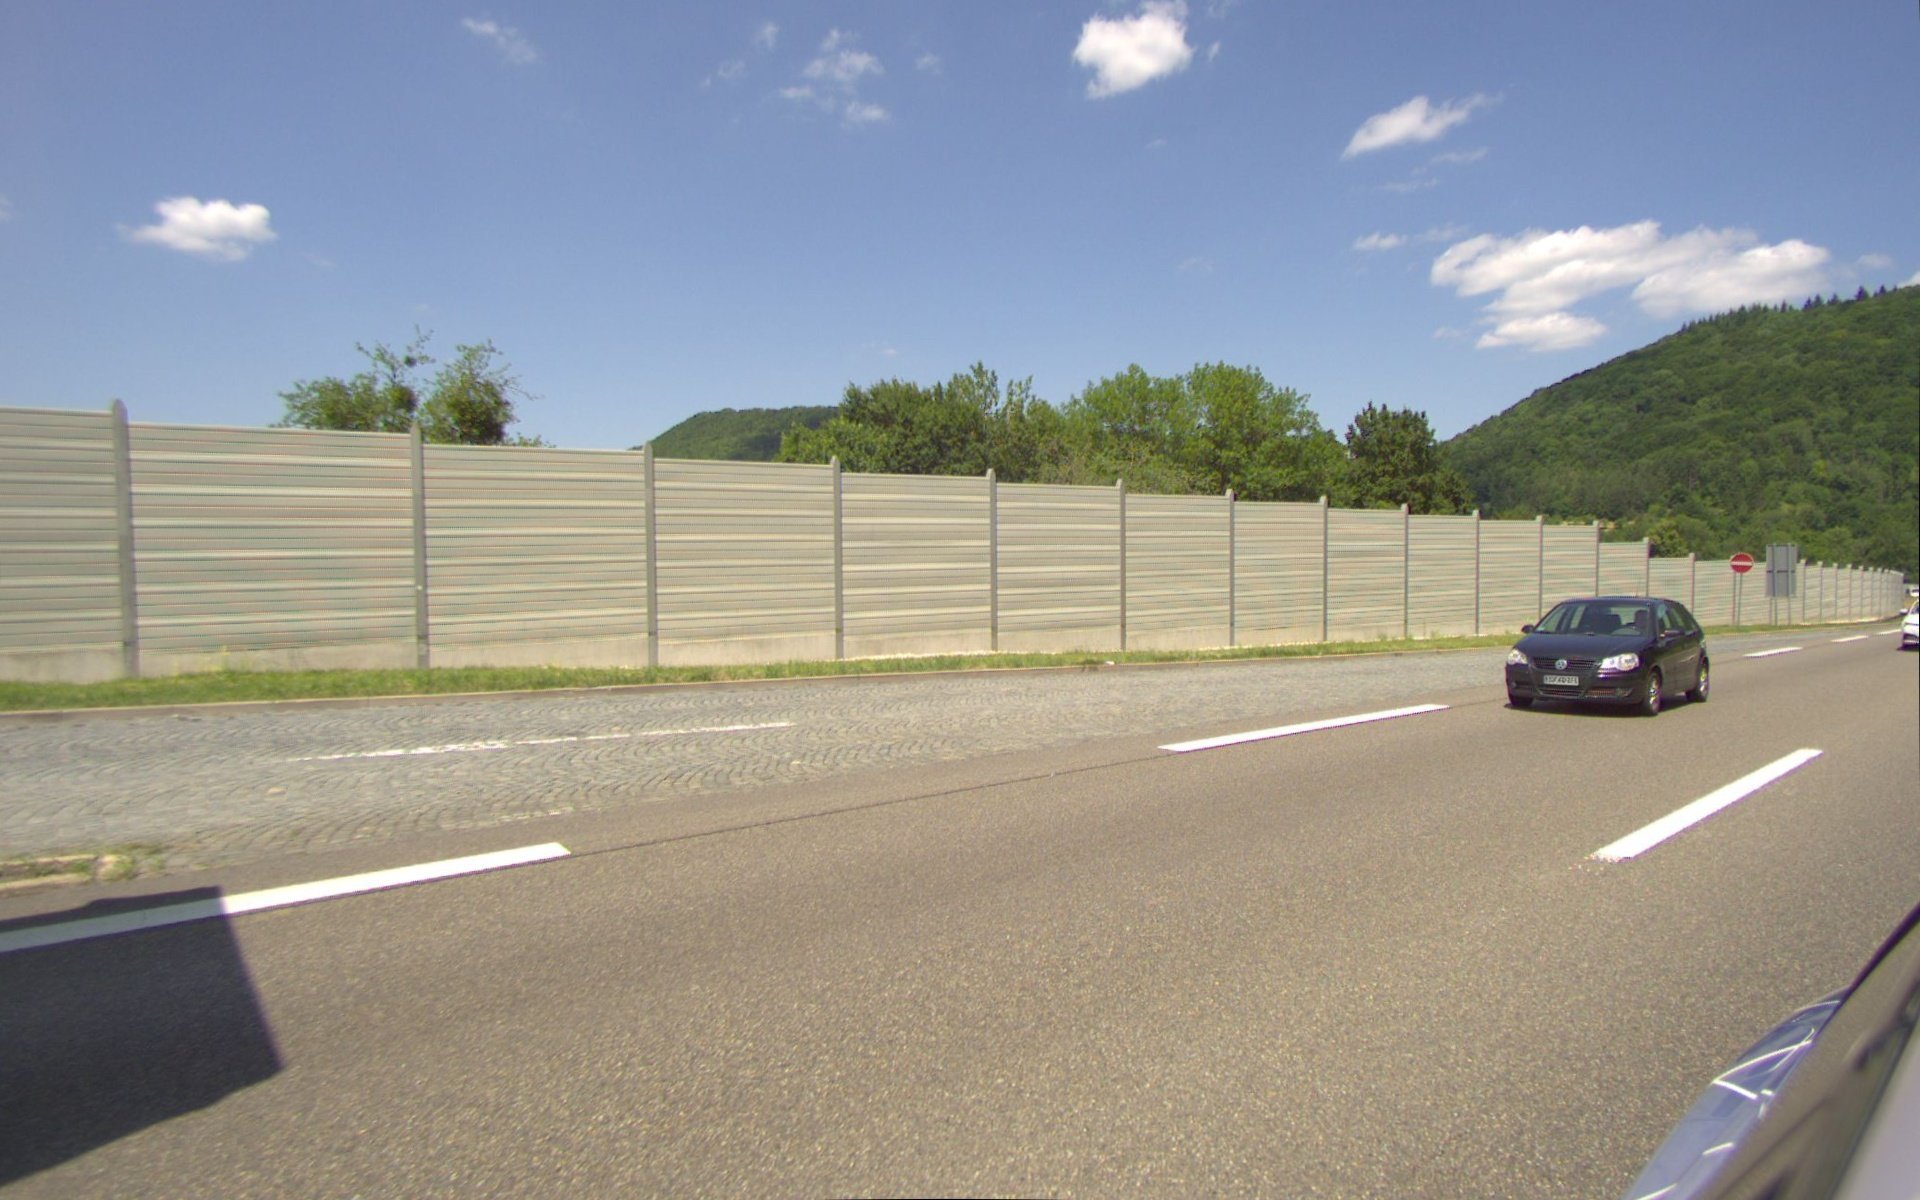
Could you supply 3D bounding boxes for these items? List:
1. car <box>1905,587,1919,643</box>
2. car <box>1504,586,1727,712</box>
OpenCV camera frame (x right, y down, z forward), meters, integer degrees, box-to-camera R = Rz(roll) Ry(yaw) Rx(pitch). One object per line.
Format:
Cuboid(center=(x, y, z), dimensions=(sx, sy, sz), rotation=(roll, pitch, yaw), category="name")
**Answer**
Cuboid(center=(26.856, 0.384, 27.086), dimensions=(3.657, 1.449, 1.905), rotation=(0, -1, -41), category="car")
Cuboid(center=(8.869, 0.553, 13.580), dimensions=(3.775, 1.440, 1.693), rotation=(-1, 0, -44), category="car")
